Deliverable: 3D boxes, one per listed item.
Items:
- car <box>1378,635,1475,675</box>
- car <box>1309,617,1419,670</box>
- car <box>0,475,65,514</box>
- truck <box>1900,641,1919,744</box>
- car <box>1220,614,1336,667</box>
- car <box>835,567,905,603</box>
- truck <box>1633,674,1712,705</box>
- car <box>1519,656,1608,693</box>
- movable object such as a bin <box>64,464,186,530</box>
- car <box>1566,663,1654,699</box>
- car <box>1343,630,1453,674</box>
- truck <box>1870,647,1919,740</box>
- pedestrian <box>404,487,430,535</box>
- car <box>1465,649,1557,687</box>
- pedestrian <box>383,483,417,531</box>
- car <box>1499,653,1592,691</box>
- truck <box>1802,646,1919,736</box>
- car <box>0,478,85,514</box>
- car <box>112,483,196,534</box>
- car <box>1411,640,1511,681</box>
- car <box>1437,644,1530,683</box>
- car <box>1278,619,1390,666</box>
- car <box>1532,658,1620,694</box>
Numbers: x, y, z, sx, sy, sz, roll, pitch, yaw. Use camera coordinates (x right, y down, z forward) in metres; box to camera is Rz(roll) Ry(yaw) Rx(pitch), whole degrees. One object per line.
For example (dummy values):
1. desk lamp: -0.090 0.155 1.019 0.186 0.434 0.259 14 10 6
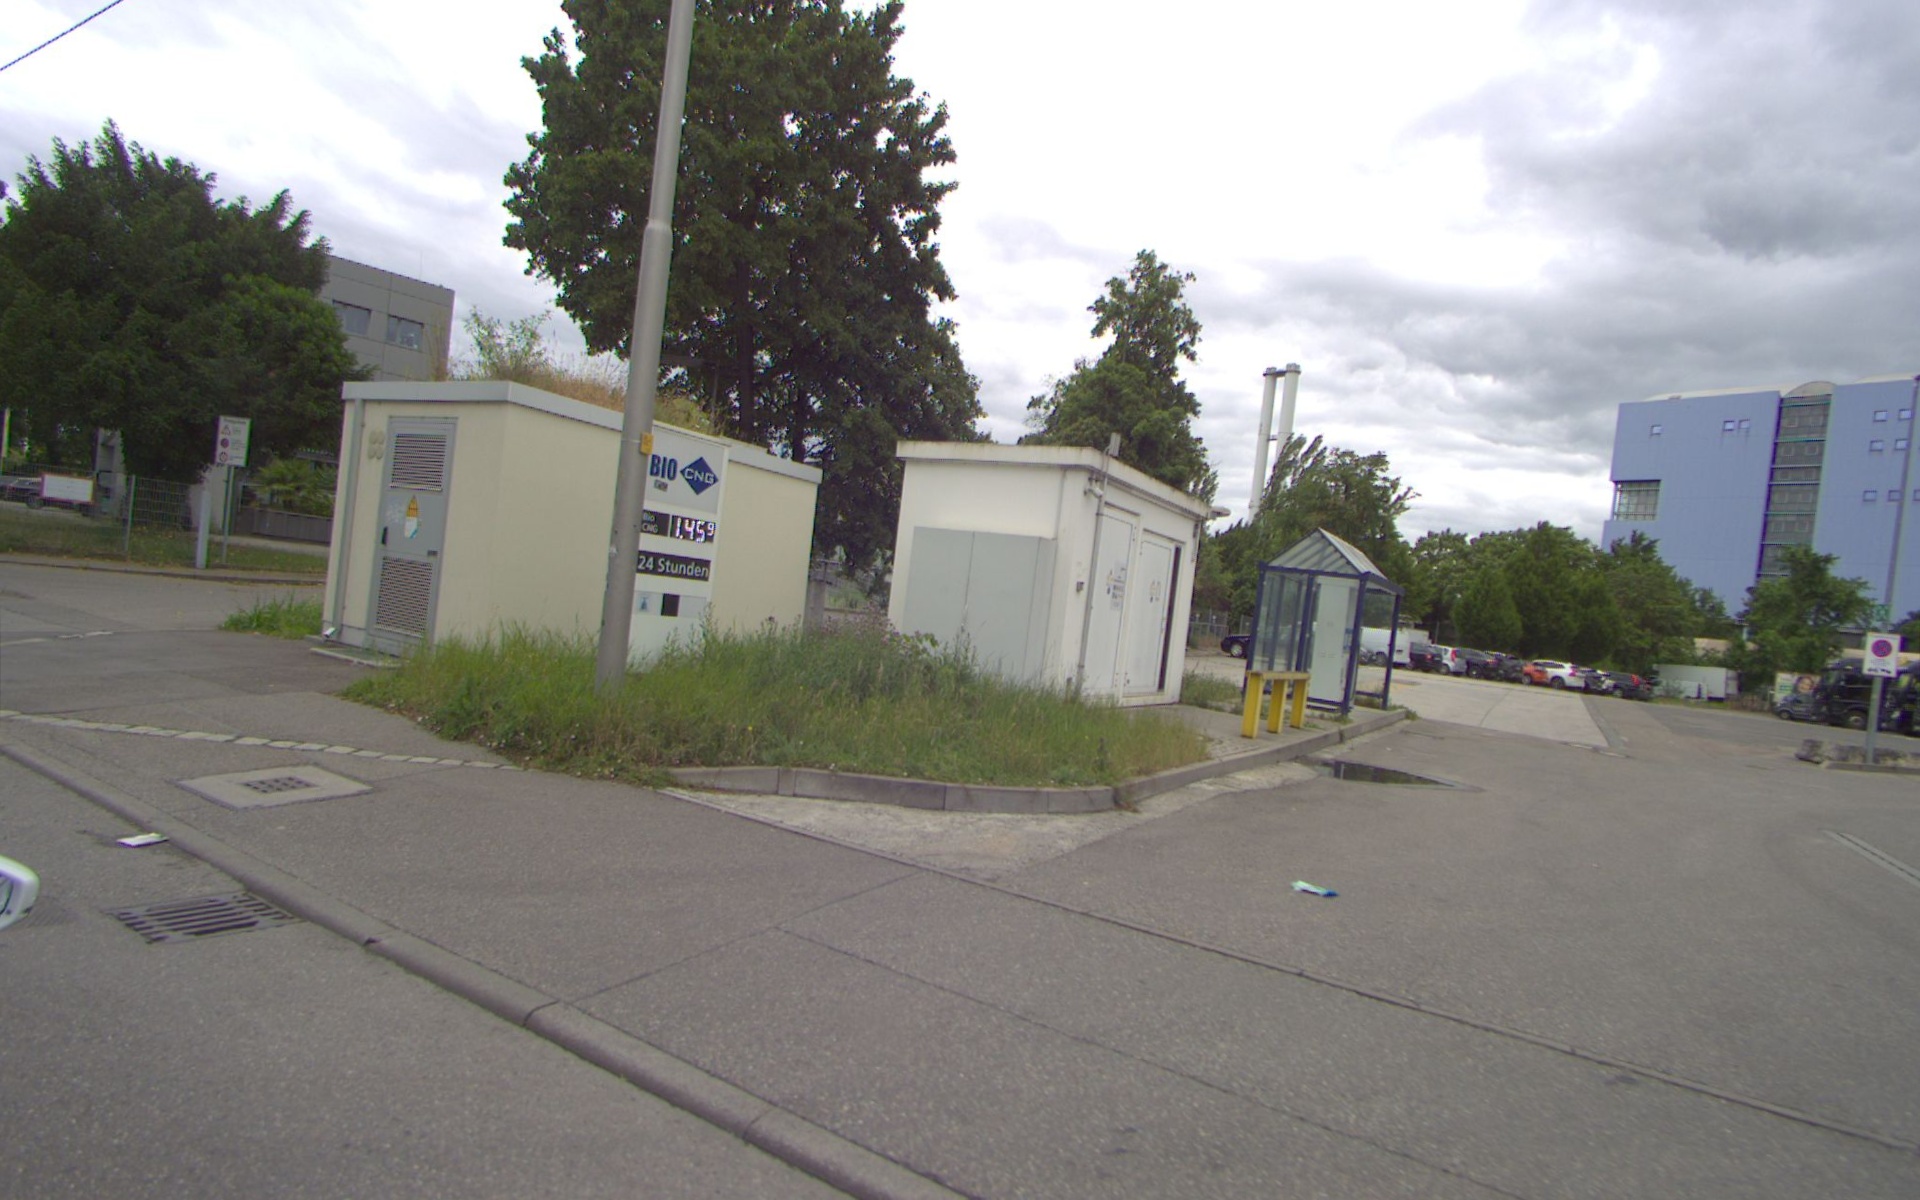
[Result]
1. car: 25.829 3.030 55.841 1.891 1.672 4.352 6 1 -37
2. car: 21.232 2.250 53.047 2.083 2.130 4.852 6 1 -37
3. car: -45.047 -5.069 46.815 4.613 1.493 1.996 6 1 -10
4. truck: 42.803 4.152 40.735 5.938 4.317 3.047 7 2 30
5. car: 12.253 1.562 38.782 3.820 1.549 1.733 7 1 32
6. car: -5.085 -0.870 56.520 1.895 1.541 4.018 5 2 -39
7. truck: 63.546 7.994 89.798 1.982 1.954 5.237 6 1 -36
8. car: 37.672 4.627 62.864 1.843 1.672 4.263 6 1 -37
9. movable object such as a bin: -37.757 -4.638 45.553 1.926 2.335 3.977 8 1 43
10. car: 42.306 5.265 65.580 1.969 1.672 4.297 6 1 -37
11. car: 23.620 2.788 54.416 2.083 1.672 4.913 6 1 -37
12. truck: 44.559 4.431 44.217 5.938 3.965 2.693 7 2 30
13. pedestrian: -22.580 -3.694 41.844 0.736 1.910 0.690 5 2 -24
14. car: 32.985 4.056 60.348 1.877 1.614 4.322 6 1 -37
15. pedestrian: -22.342 -3.684 40.129 0.907 1.775 0.793 6 2 -19
16. car: 35.501 4.339 61.093 1.884 1.672 4.361 6 1 -37
17. truck: 47.626 4.736 51.671 5.938 3.965 2.693 7 2 30
18. car: -57.022 -6.436 61.518 4.795 1.553 2.012 7 1 -23
19. car: -30.789 -3.503 38.374 4.383 1.588 1.986 8 4 45
20. car: 28.316 3.395 56.953 1.988 1.672 4.555 6 1 -37
21. car: 30.471 3.689 58.687 1.946 1.672 4.283 6 1 -37
22. car: 18.968 2.148 51.179 2.085 1.759 4.828 6 1 -40
23. car: 39.638 4.895 64.820 1.934 1.672 4.286 6 1 -37
